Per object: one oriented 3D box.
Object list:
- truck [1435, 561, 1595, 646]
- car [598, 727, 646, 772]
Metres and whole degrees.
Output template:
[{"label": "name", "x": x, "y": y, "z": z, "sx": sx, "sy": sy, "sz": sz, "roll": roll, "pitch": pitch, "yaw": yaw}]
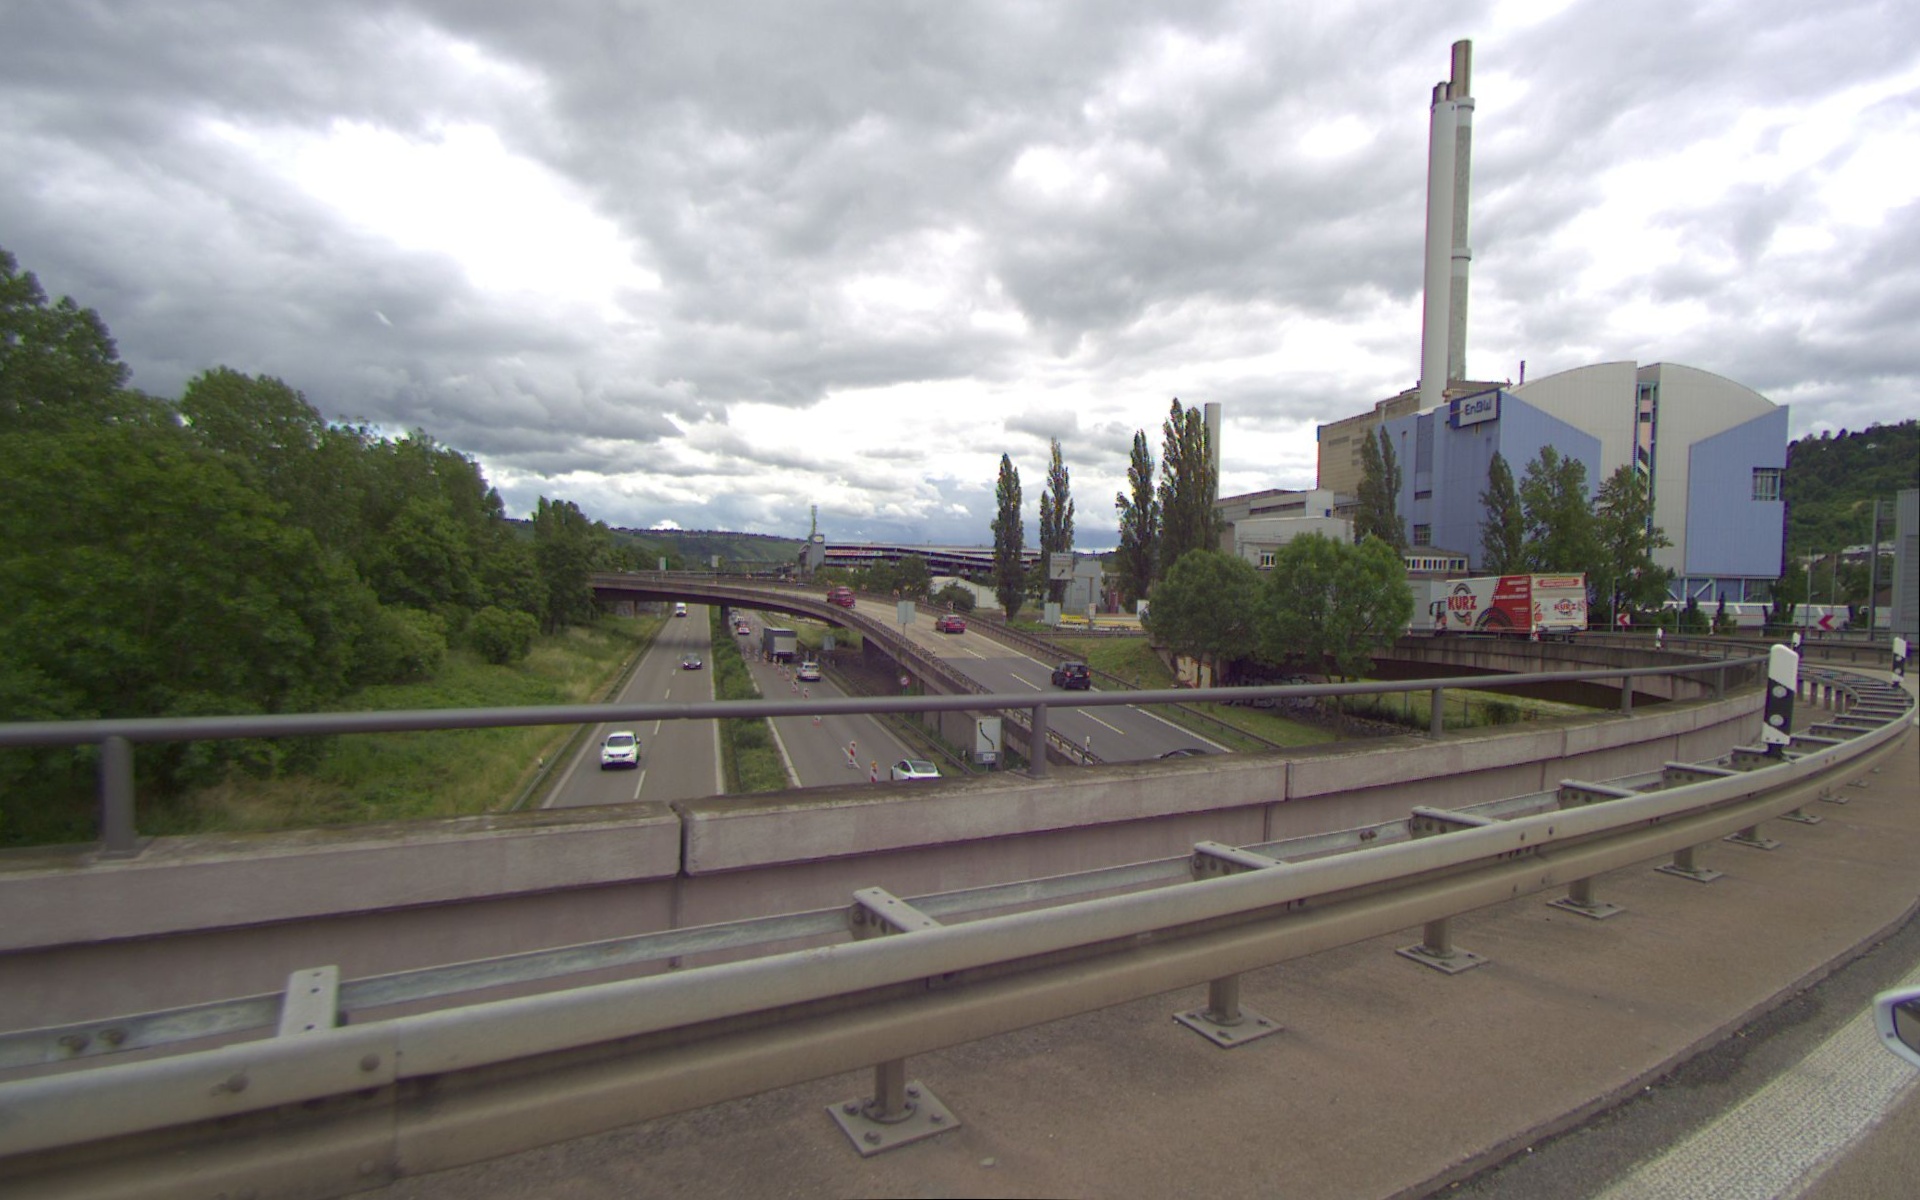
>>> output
[{"label": "truck", "x": 26.540, "y": 0.120, "z": 48.596, "sx": 3.002, "sy": 3.722, "sz": 7.923, "roll": 1, "pitch": 0, "yaw": -3}, {"label": "car", "x": -17.309, "y": 7.613, "z": 51.591, "sx": 1.838, "sy": 1.684, "sz": 3.990, "roll": 1, "pitch": 0, "yaw": -12}]
